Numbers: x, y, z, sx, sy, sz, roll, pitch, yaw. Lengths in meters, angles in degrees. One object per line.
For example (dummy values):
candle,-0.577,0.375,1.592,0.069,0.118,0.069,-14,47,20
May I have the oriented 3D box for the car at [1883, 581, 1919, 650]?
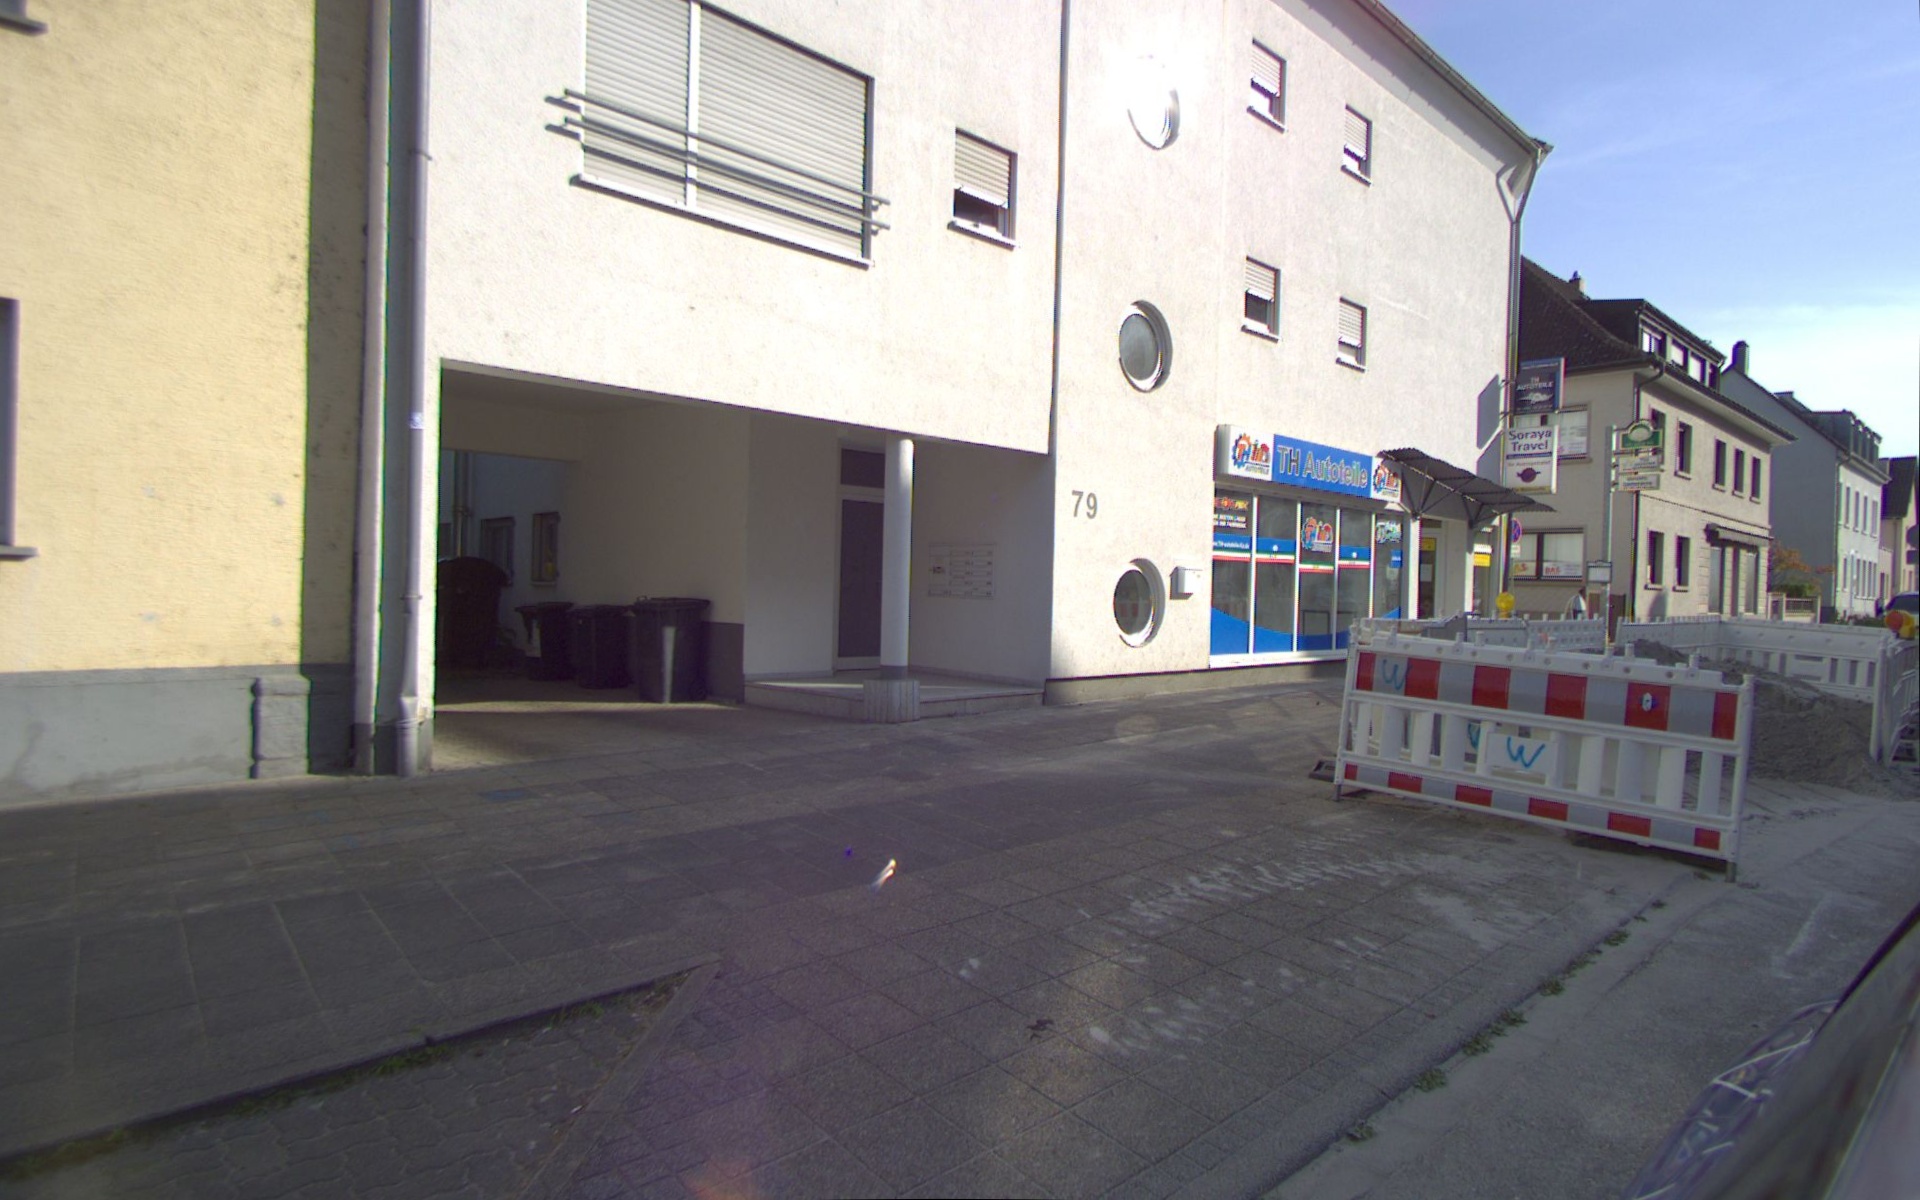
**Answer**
car,24.941,0.385,25.652,4.386,1.650,1.833,0,2,-42
